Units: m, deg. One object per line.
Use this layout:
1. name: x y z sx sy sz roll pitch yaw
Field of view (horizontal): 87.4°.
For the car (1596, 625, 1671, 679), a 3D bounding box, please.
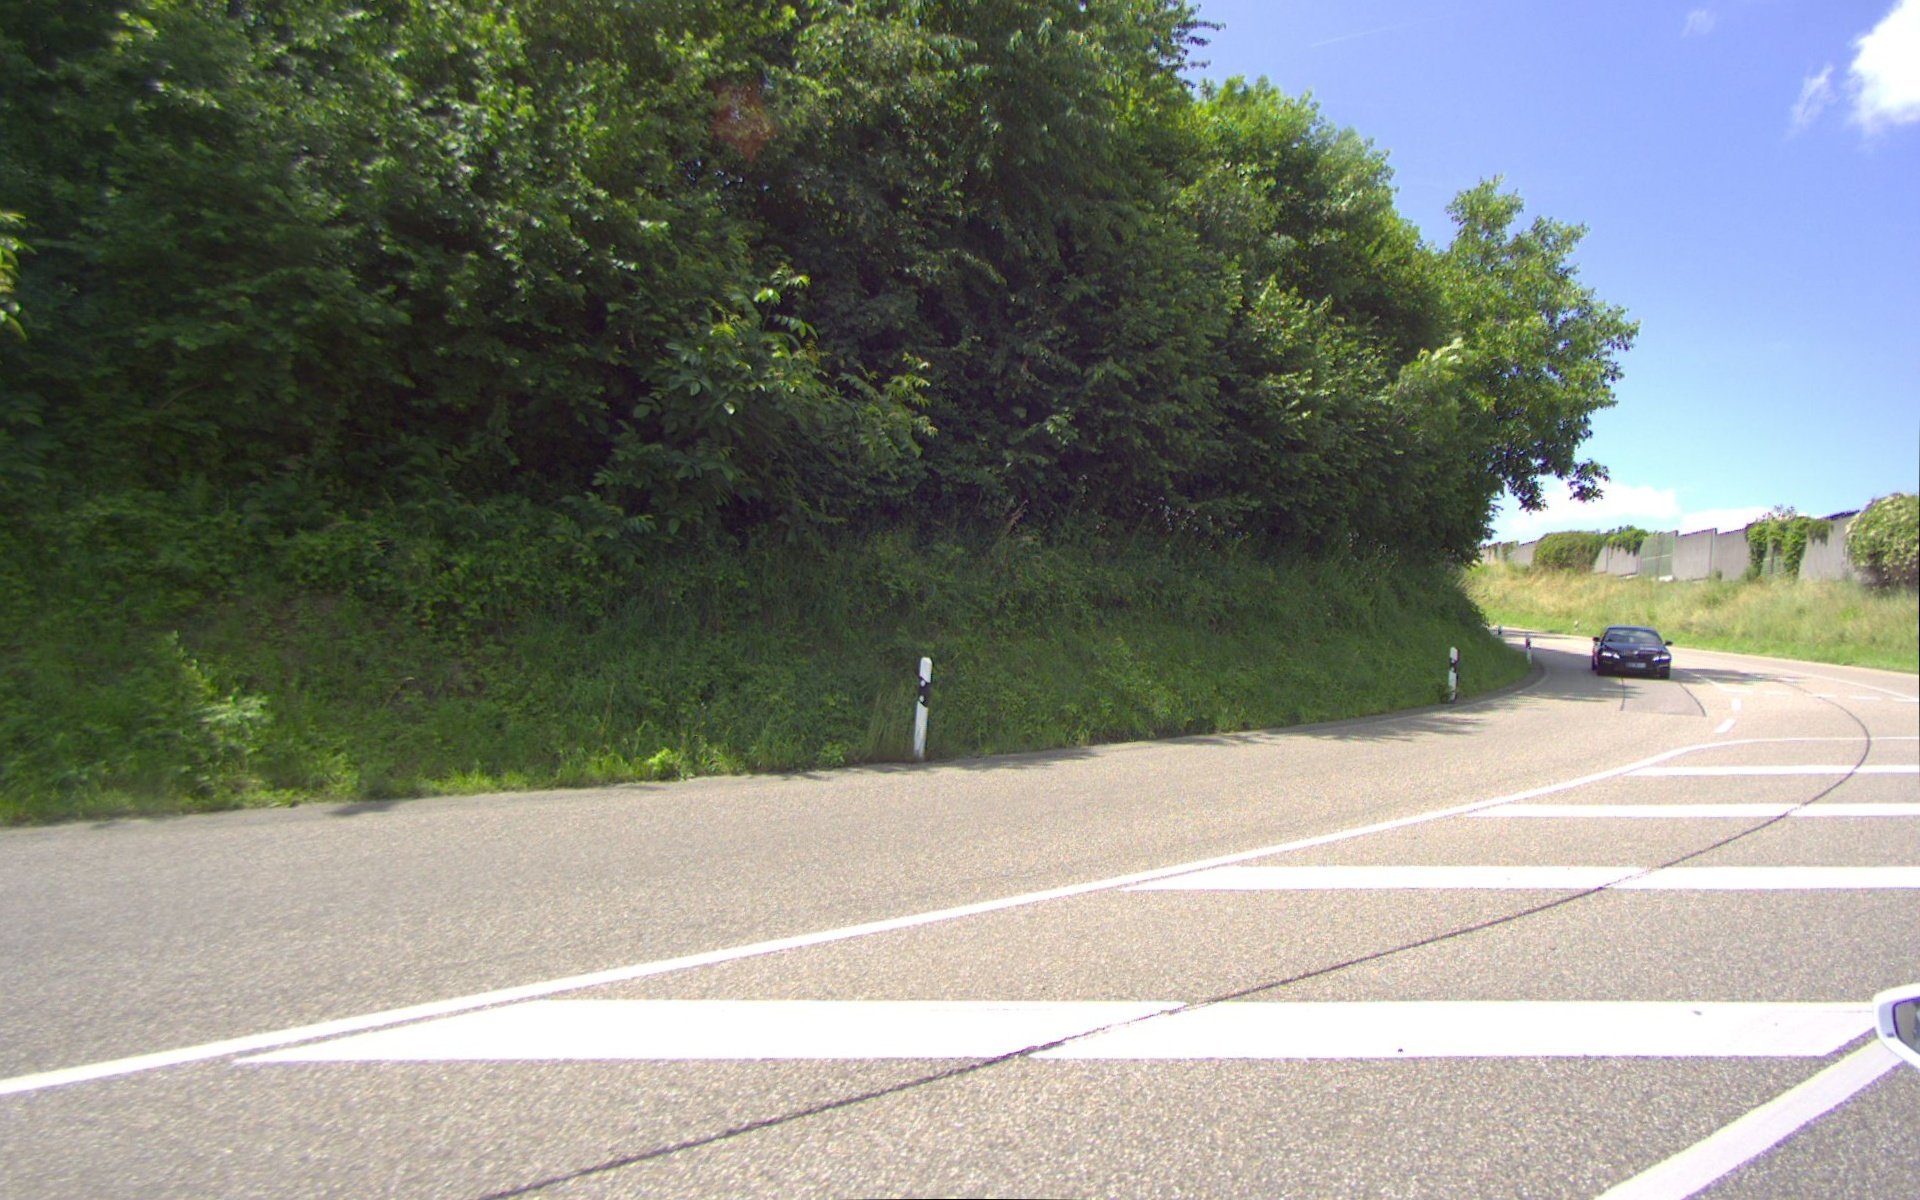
1. car: 20.026 1.523 29.988 1.661 1.438 4.335 0 -2 31
